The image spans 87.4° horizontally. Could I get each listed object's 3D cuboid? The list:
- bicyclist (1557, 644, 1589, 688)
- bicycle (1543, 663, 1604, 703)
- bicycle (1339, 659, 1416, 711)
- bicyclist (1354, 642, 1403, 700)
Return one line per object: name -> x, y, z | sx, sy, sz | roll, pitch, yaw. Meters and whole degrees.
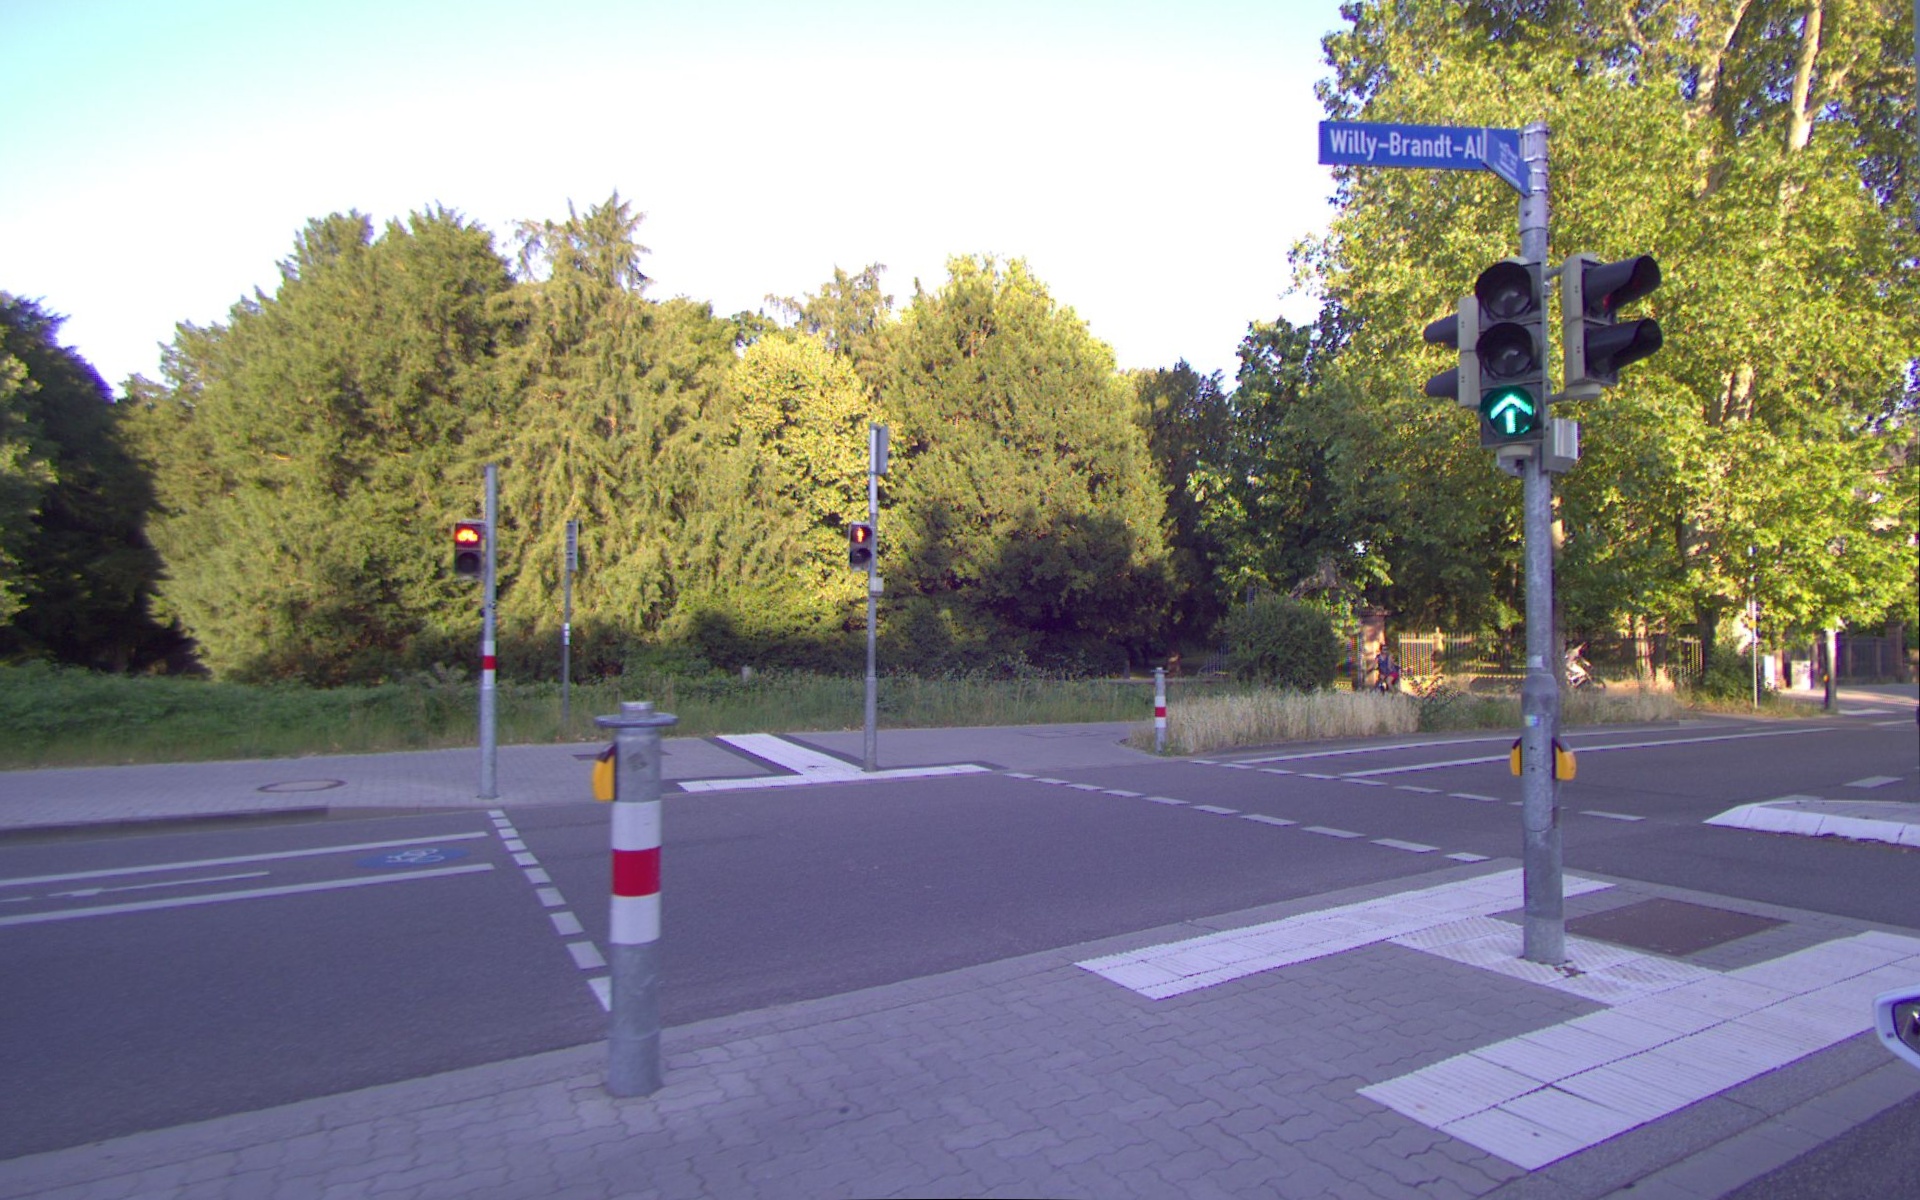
bicyclist -> 19.786, 2.119, 32.446 | 0.824, 1.379, 0.572 | -1, -2, 28
bicycle -> 19.774, 2.662, 32.406 | 1.602, 1.245, 0.572 | -1, -2, 28
bicycle -> 10.601, 2.134, 25.492 | 1.957, 1.273, 0.785 | 2, -2, -31
bicyclist -> 10.623, 1.786, 25.514 | 0.882, 1.445, 0.785 | 2, -2, -31
